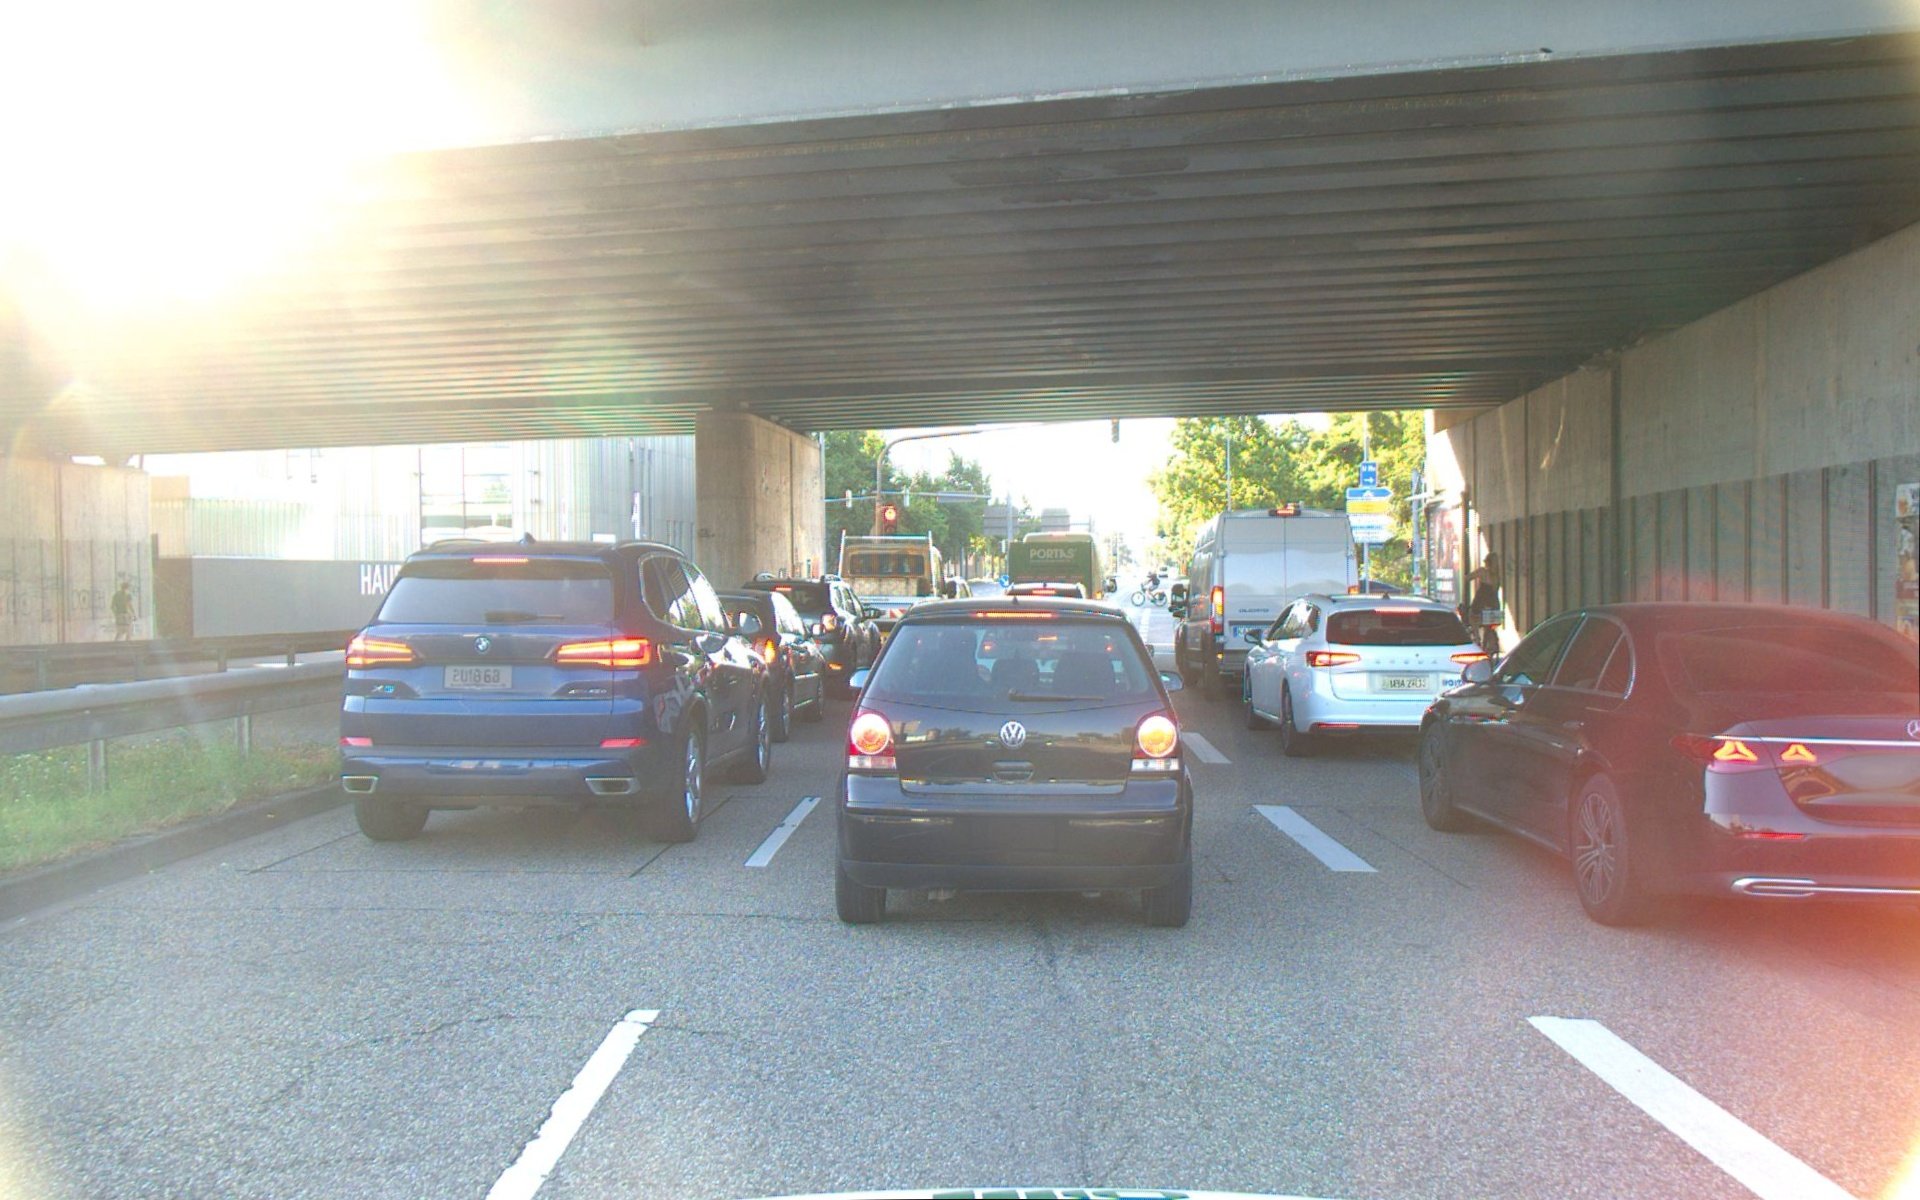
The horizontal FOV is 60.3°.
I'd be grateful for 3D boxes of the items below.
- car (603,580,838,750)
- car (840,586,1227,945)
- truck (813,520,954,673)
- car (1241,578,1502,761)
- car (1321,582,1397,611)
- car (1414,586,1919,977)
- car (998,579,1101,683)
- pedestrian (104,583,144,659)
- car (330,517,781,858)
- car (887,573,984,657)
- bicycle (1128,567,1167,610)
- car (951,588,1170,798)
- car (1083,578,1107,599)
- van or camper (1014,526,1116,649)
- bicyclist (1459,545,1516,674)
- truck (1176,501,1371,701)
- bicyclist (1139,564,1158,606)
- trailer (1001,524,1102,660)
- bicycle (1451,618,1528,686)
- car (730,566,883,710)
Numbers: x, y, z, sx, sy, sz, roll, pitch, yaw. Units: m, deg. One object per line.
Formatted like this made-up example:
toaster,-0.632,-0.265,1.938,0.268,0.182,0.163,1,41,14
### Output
car,-2.368,0.619,17.229,1.804,1.465,3.675,-3,0,0
car,0.282,0.688,8.548,1.549,1.433,3.831,0,-1,-1
truck,-1.315,-0.029,30.994,1.985,2.601,5.540,0,-1,4
car,3.847,0.615,16.089,1.735,1.521,3.833,-2,-1,3
car,15.517,-0.149,64.383,2.762,1.100,1.219,0,0,7
car,3.857,0.693,8.779,1.704,1.480,4.607,0,1,1
car,1.468,0.489,26.798,1.548,1.559,3.833,0,-1,3
pedestrian,-21.541,0.532,42.617,0.679,1.937,0.665,0,-1,5
car,-2.368,0.479,10.913,1.791,1.769,4.462,-1,-1,1
car,-0.541,0.363,40.445,1.951,1.934,4.002,0,-1,5
bicycle,9.392,-0.556,82.856,1.838,2.048,0.571,-4,-1,6
car,0.806,0.669,13.807,1.515,1.448,3.418,-3,0,2
car,9.112,-0.763,111.827,1.312,1.304,2.893,-3,0,0
van or camper,2.535,-0.245,38.470,1.951,2.615,5.922,0,-1,7
bicyclist,8.057,0.145,25.282,0.667,1.940,0.834,0,-1,6
truck,4.417,0.024,23.998,2.067,2.563,4.402,-2,0,2
bicyclist,9.446,-0.727,82.844,0.810,2.048,0.683,-3,-1,6
trailer,1.885,-0.133,32.983,1.825,2.508,3.834,-2,-1,5
bicycle,8.057,0.769,25.276,0.566,0.980,2.888,0,-1,7
car,-2.081,0.504,23.400,1.804,1.749,3.998,-3,0,-2
